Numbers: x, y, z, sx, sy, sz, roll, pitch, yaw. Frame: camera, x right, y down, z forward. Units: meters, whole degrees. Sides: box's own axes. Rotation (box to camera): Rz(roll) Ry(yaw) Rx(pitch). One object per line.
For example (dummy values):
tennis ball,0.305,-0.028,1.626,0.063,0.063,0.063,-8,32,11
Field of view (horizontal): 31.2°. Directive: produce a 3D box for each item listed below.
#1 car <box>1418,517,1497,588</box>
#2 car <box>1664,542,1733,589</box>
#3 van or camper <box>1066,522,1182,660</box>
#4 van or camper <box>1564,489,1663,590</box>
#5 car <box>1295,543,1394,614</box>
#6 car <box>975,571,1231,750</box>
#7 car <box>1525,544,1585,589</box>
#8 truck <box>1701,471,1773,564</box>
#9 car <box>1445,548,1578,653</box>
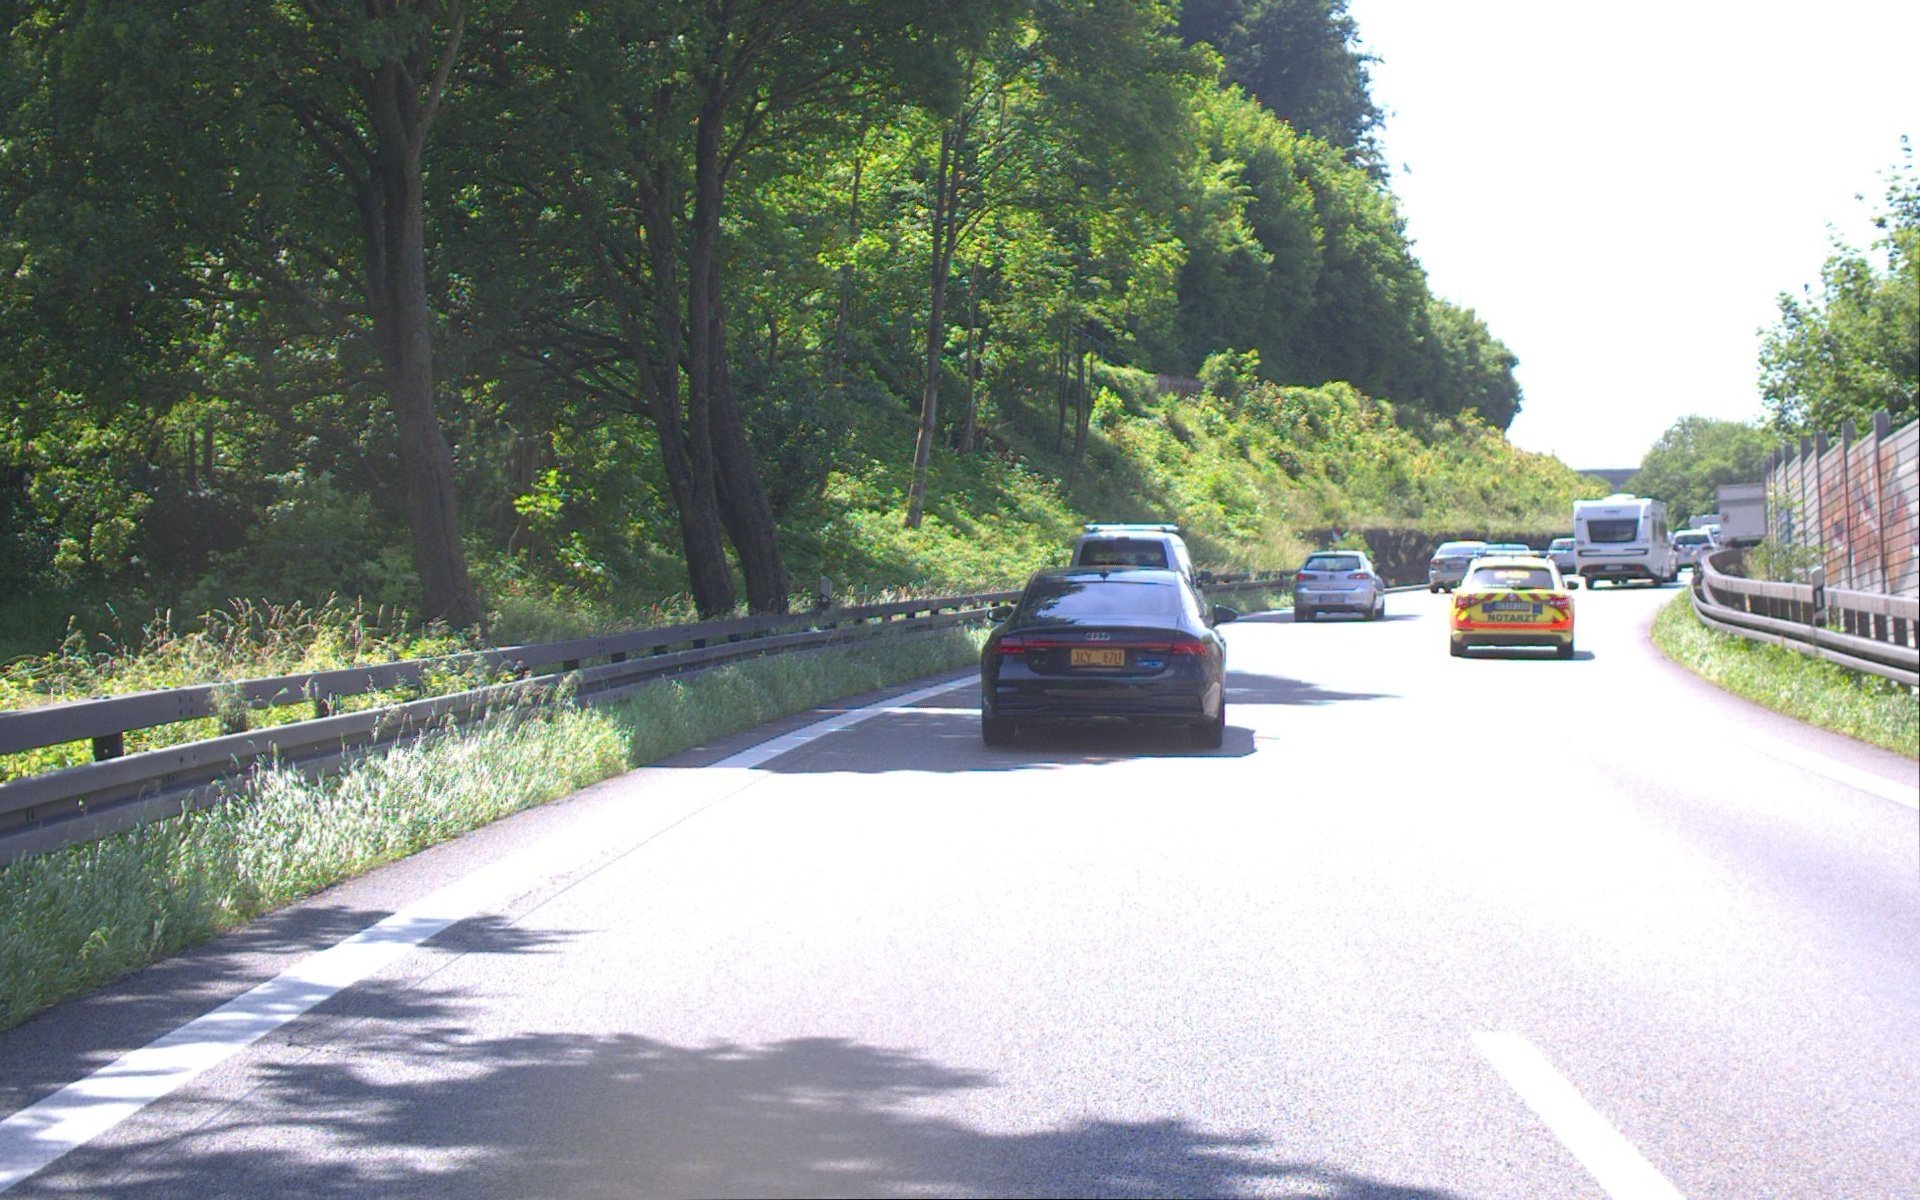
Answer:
car,14.667,-1.410,101.213,1.994,2.007,3.998,-1,1,13
car,28.173,-1.321,131.049,1.995,1.711,3.996,0,1,20
van or camper,2.294,-0.120,47.367,1.392,1.809,3.999,0,0,6
van or camper,19.674,-1.769,103.321,2.457,2.908,6.121,0,0,15
car,7.960,-0.438,70.927,1.748,1.426,3.998,0,0,11
car,1.224,0.450,27.785,1.838,1.345,3.999,0,0,6
car,22.897,-1.275,132.217,1.842,1.711,3.997,0,0,16
truck,35.731,-3.729,157.970,2.735,4.082,7.474,0,0,16
car,8.162,0.005,50.954,1.863,1.483,3.998,0,0,9
